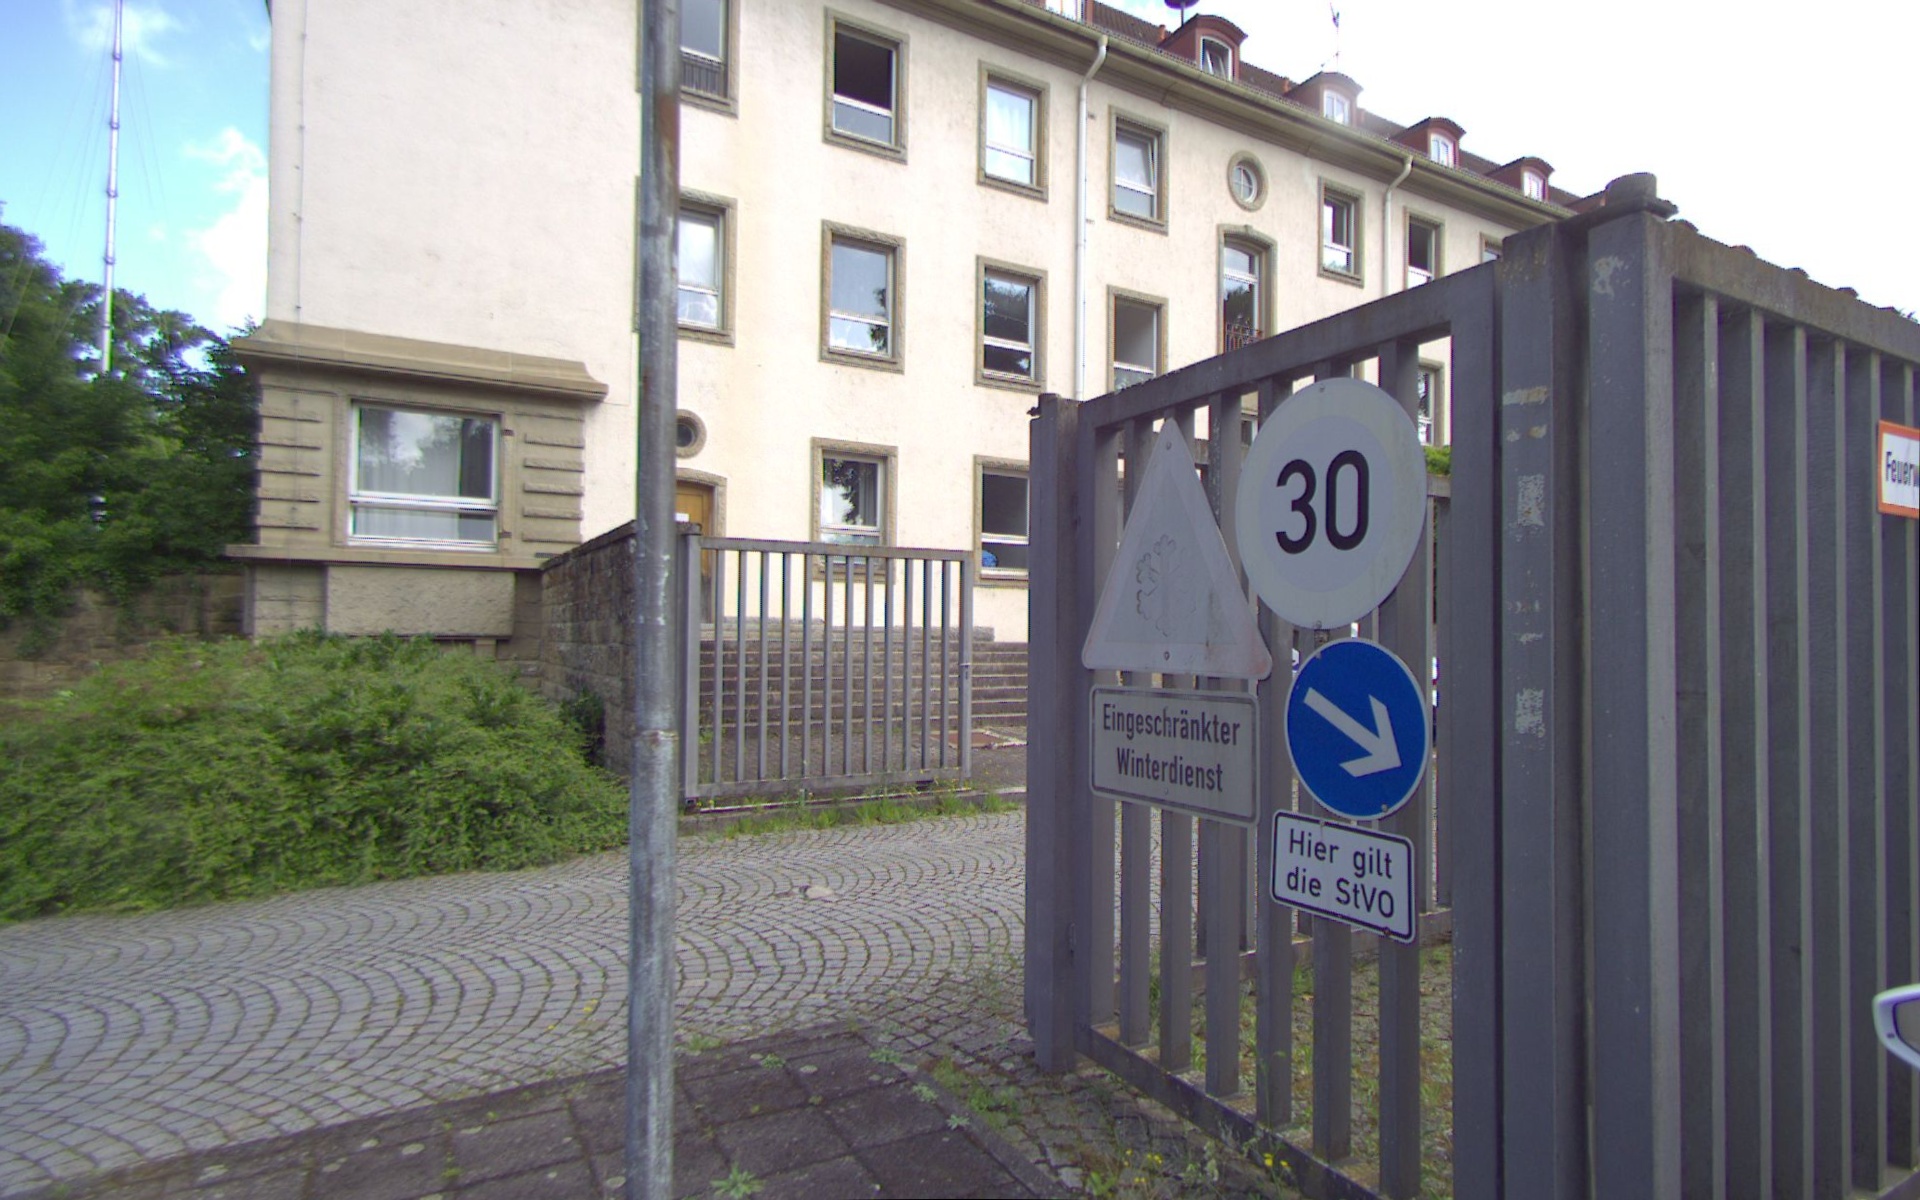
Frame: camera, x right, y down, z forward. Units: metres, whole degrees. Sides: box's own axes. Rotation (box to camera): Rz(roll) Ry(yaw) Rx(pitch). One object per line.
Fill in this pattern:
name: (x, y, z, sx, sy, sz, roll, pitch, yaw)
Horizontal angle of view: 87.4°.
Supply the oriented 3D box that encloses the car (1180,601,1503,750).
car: (5.689, 1.005, 15.547, 1.839, 1.775, 4.410, 1, 2, -33)
